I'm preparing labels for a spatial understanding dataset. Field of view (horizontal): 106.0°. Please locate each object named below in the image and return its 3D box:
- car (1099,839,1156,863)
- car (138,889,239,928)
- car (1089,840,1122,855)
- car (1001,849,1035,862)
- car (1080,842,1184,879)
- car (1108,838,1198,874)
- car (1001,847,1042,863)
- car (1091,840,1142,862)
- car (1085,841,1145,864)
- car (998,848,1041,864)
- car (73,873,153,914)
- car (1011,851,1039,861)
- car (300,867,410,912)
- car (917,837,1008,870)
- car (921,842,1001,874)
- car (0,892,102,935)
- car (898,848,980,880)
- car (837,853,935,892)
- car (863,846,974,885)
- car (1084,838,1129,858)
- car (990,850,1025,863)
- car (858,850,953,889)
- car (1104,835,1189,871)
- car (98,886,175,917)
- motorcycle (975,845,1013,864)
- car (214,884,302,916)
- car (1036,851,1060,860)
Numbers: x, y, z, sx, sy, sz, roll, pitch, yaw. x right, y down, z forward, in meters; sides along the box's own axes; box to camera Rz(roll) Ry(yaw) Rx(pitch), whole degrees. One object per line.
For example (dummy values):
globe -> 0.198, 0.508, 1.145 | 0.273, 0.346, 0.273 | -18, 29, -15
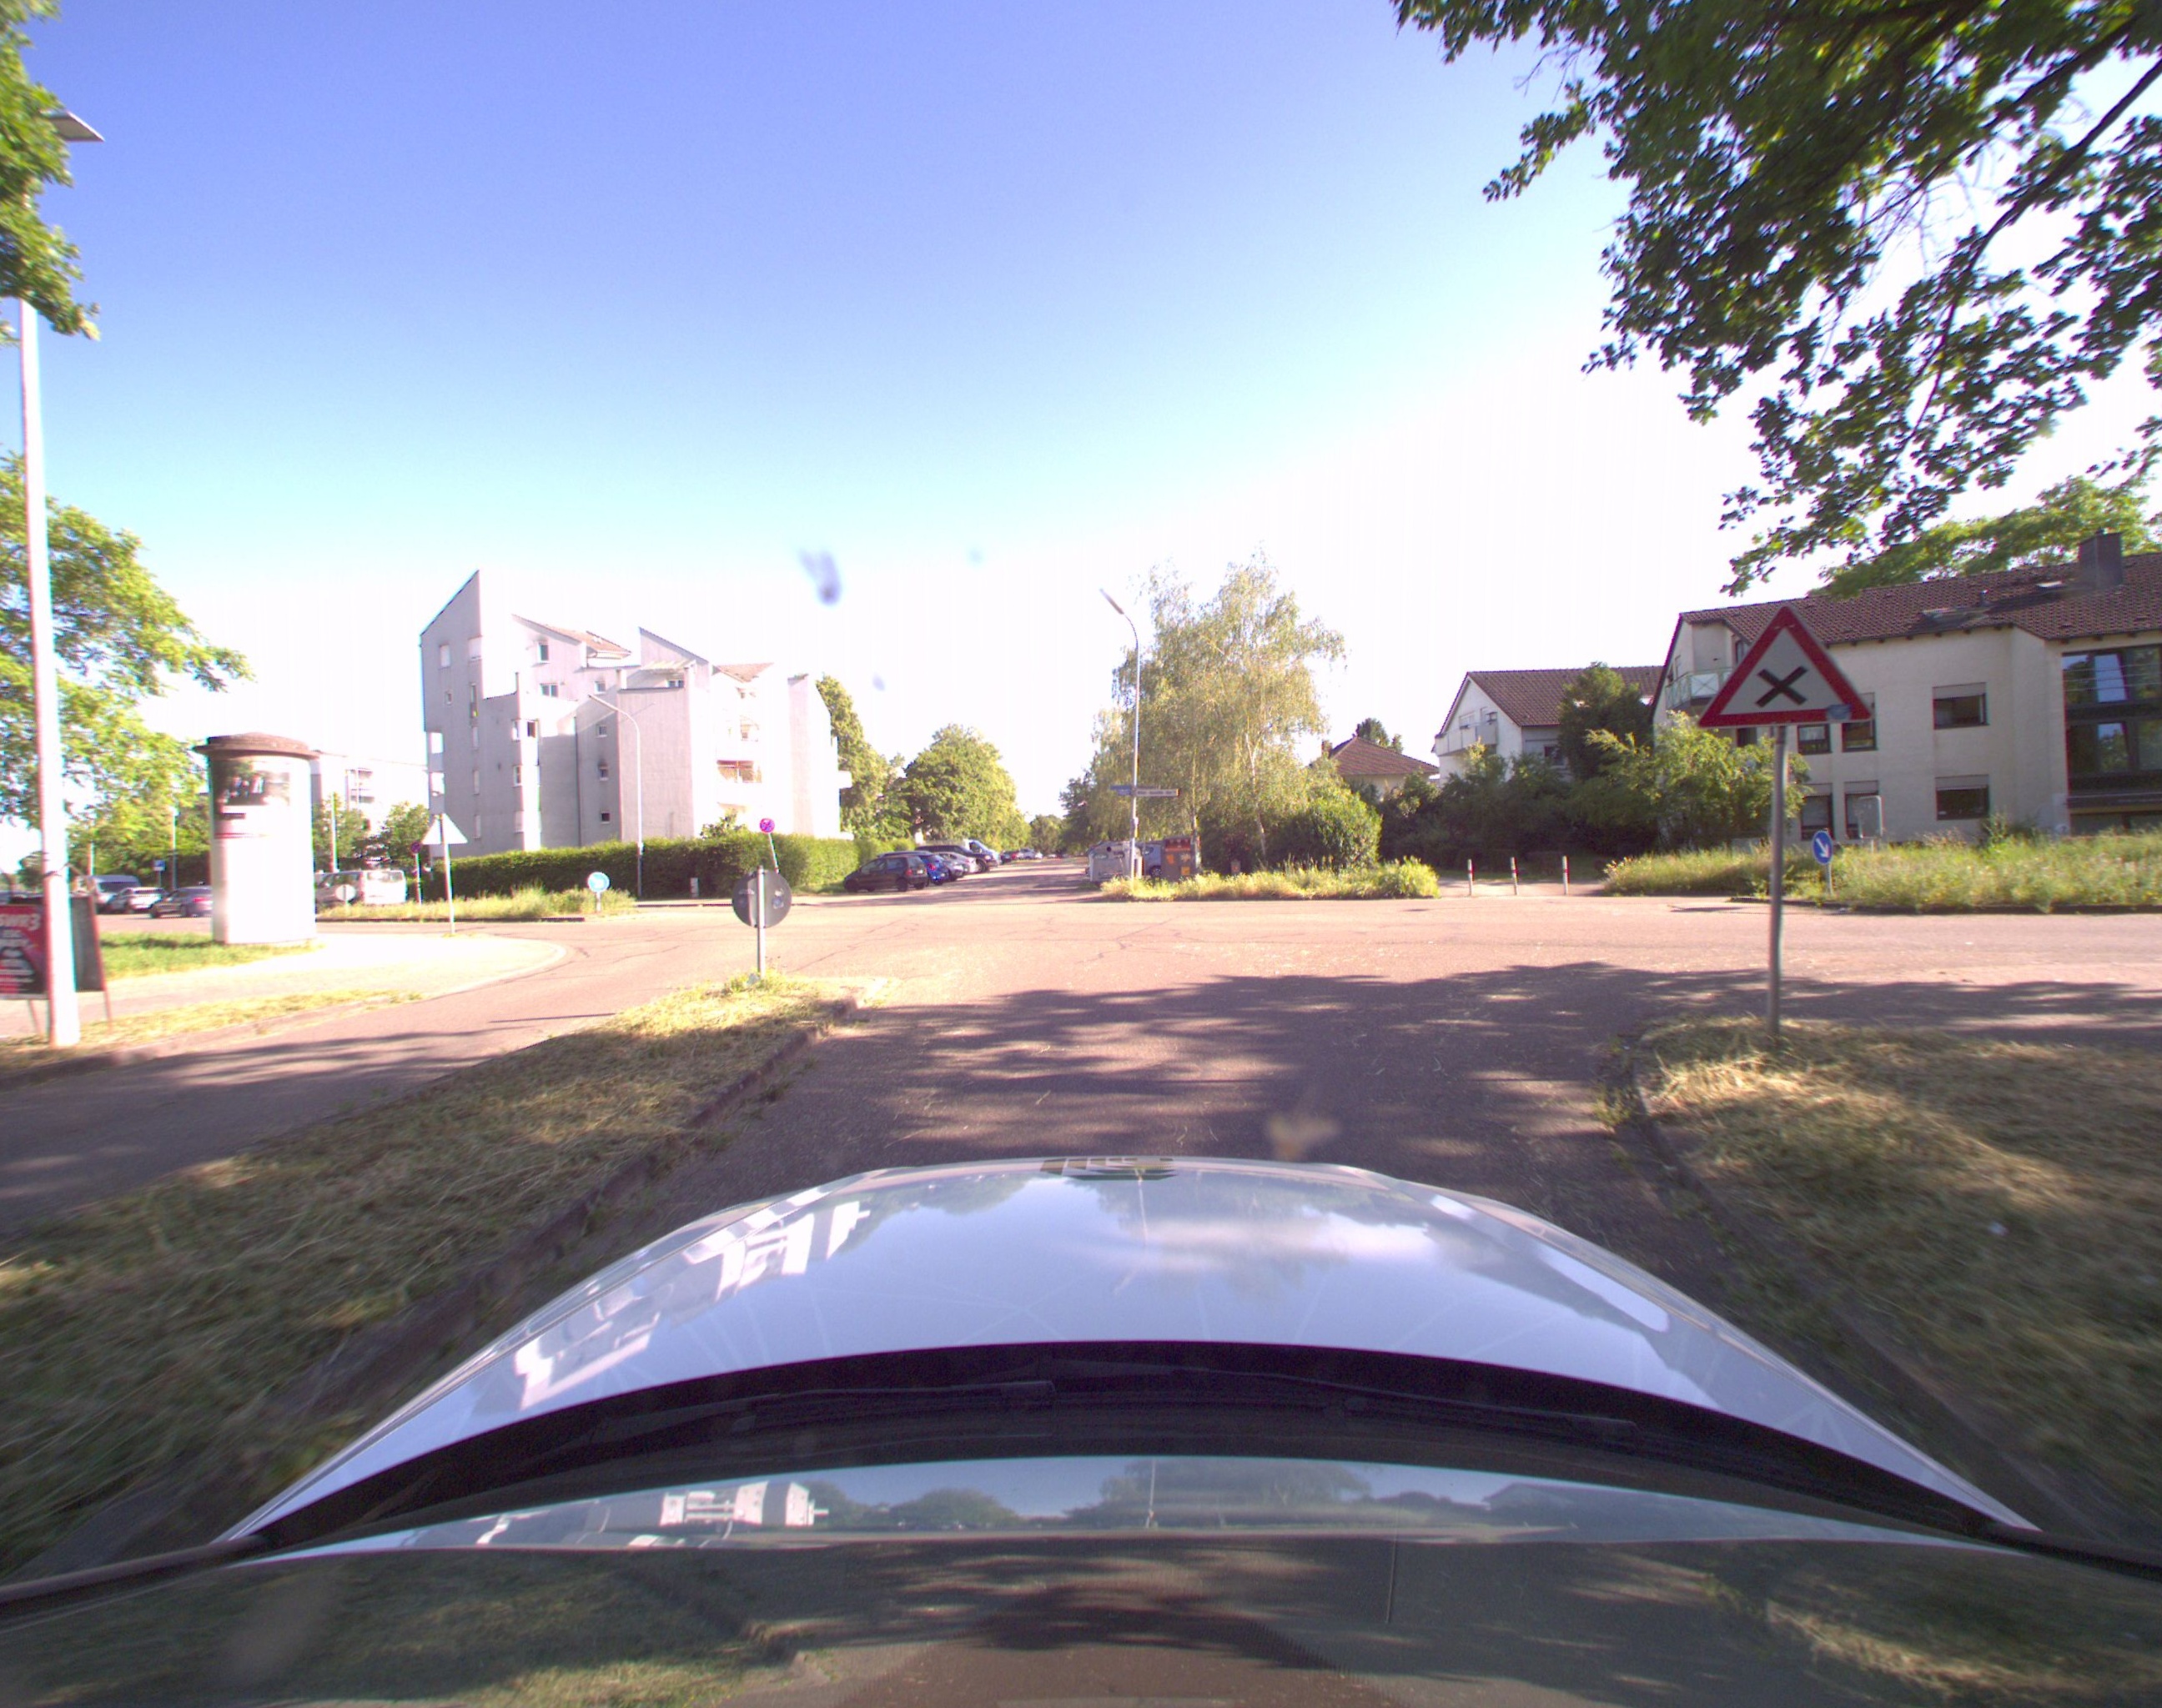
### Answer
car -> 3.362, -0.196, 58.384 | 3.969, 1.585, 1.799 | -1, 0, 3
car -> -42.314, 2.604, 38.609 | 4.027, 1.643, 1.894 | -3, 0, 22
car -> 3.040, -0.827, 101.072 | 3.969, 1.708, 1.799 | -1, 0, 3
car -> -7.534, 0.152, 98.078 | 3.927, 1.334, 1.847 | -2, 0, -1
car -> 2.119, 0.265, 33.710 | 4.024, 1.438, 1.641 | -1, 0, 13
car -> 3.425, 0.072, 39.204 | 4.046, 1.603, 1.788 | -2, 2, -5
car -> -5.857, 0.104, 80.484 | 3.927, 1.334, 1.847 | -2, 0, -1
car -> 2.821, -0.250, 64.433 | 3.969, 1.585, 1.799 | -1, 0, 3
car -> 2.331, -0.095, 55.083 | 3.969, 1.401, 1.799 | -1, 0, 3
car -> -5.824, 0.147, 77.343 | 3.927, 1.334, 1.847 | -2, 0, -1
car -> -62.140, 2.561, 52.263 | 5.781, 2.486, 2.124 | -3, -2, 28
car -> -8.048, 0.282, 117.803 | 3.927, 1.334, 1.847 | -2, 0, -1
car -> -34.820, 1.713, 39.047 | 4.893, 1.912, 2.011 | -3, 0, 24
car -> -8.518, -0.060, 59.083 | 6.239, 2.147, 2.409 | -2, 0, -2
car -> -7.389, 0.243, 50.319 | 4.500, 1.771, 1.850 | -2, 0, 5
car -> -40.400, 2.315, 31.809 | 3.380, 1.527, 1.639 | -2, 0, 19
car -> -7.677, 0.523, 44.255 | 4.132, 1.454, 1.618 | -3, 0, -2
car -> -8.095, 0.764, 33.829 | 3.494, 1.466, 1.712 | -2, 1, 17
car -> -7.987, 0.548, 40.260 | 4.967, 1.654, 1.787 | -3, 1, 6
car -> 2.291, -0.524, 72.513 | 3.969, 1.585, 1.799 | -1, 0, 3
car -> -8.522, 0.241, 94.724 | 3.927, 1.334, 1.847 | -2, 0, -1
car -> -7.794, 0.681, 36.244 | 3.654, 1.496, 1.657 | -3, 1, 13
car -> 3.354, -0.061, 42.029 | 4.098, 1.706, 1.787 | -2, 2, -6
car -> -57.461, 2.903, 49.542 | 4.320, 1.666, 1.927 | -3, 0, 25
motorcycle -> -7.640, 0.041, 71.642 | 3.179, 1.596, 0.924 | -2, 0, 1
car -> -43.898, 2.461, 43.428 | 4.320, 1.488, 1.927 | -3, 0, 25
car -> -5.126, 0.177, 127.159 | 3.633, 1.212, 1.847 | -2, 0, 0
